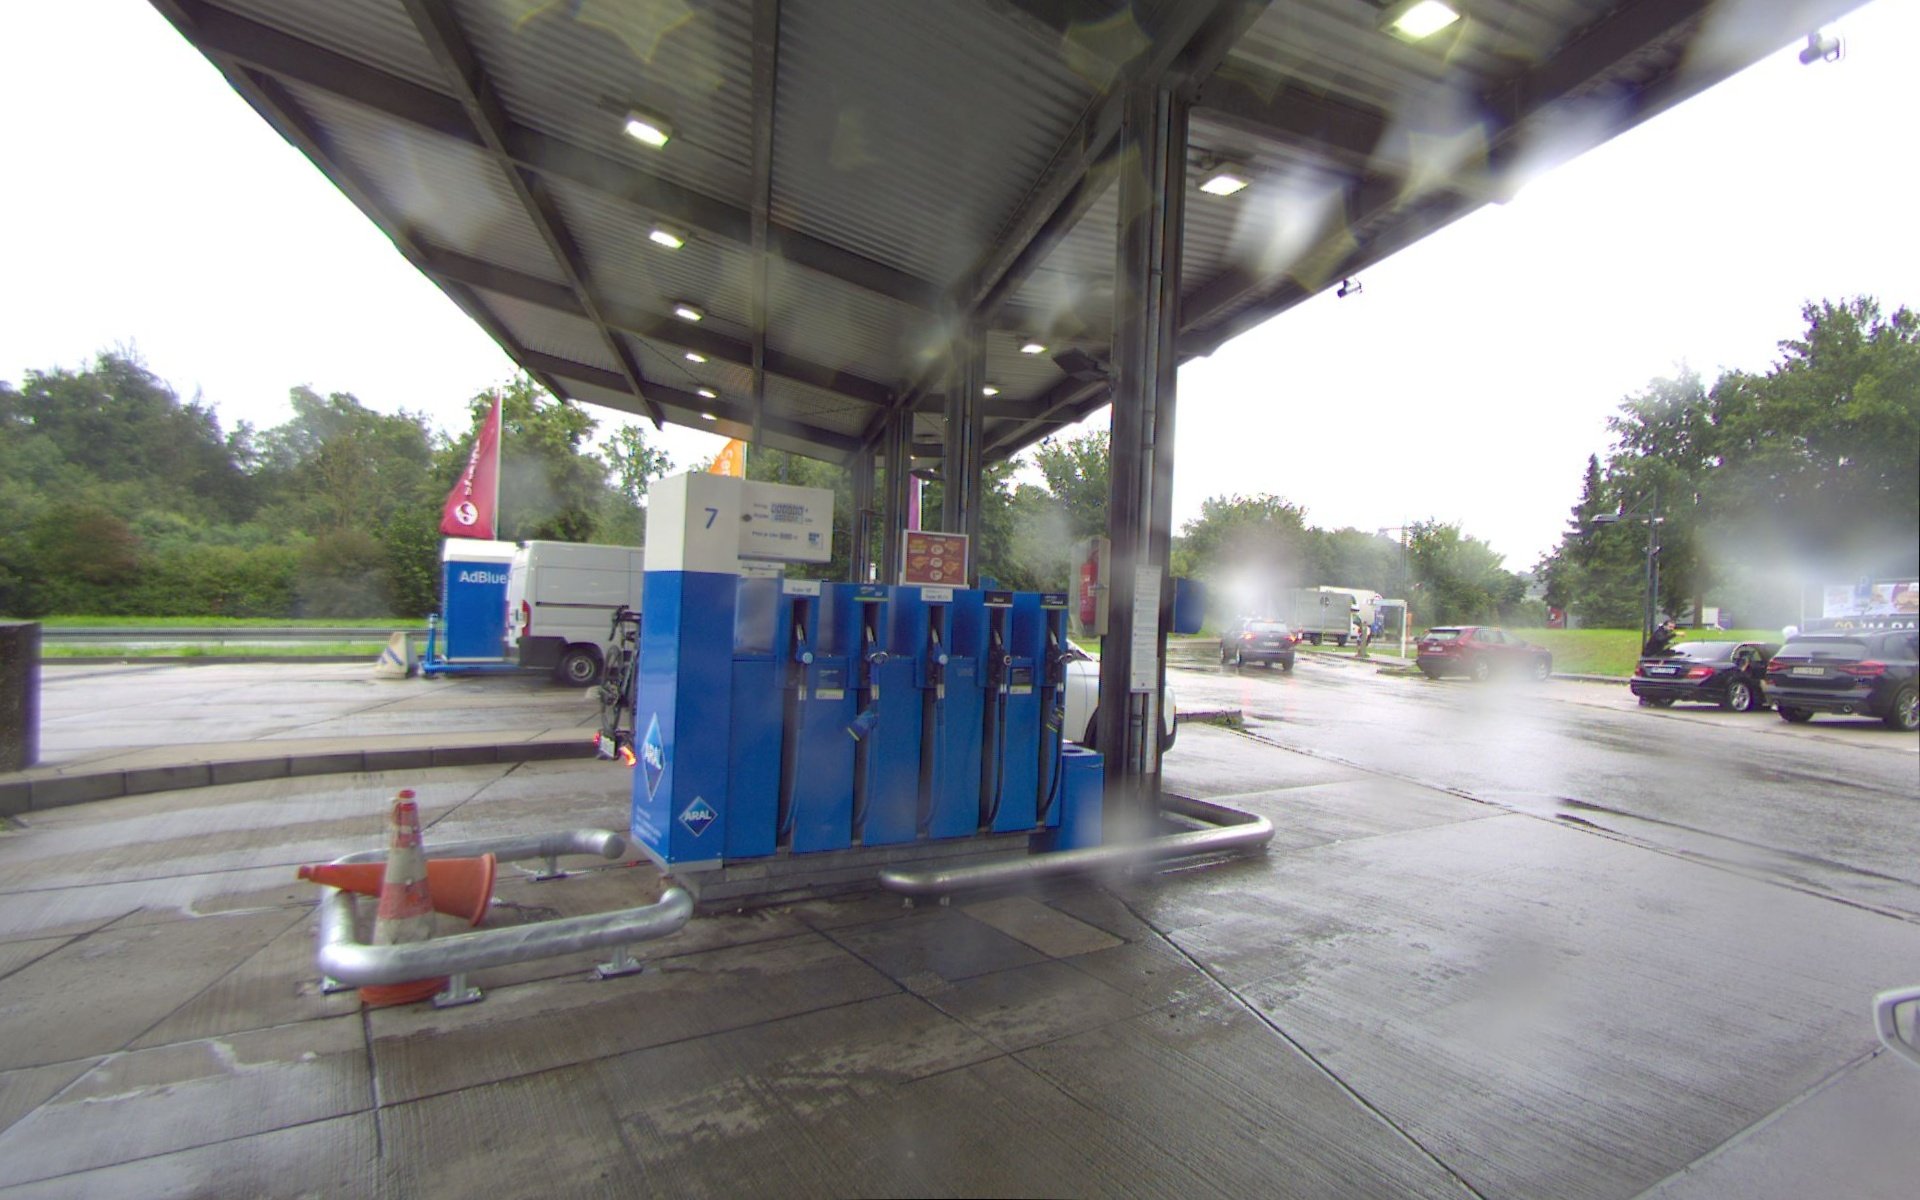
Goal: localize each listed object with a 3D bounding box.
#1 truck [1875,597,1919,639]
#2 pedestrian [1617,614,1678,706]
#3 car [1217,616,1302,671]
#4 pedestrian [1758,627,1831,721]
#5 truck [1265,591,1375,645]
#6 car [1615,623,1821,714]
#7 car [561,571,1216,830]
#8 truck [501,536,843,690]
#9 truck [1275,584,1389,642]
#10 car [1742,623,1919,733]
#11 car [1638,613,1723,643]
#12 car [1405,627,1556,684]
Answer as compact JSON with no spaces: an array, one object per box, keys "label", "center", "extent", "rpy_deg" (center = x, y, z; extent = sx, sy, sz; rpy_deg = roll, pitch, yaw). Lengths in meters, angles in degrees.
[{"label":"truck","center":[68.844,1.322,71.696],"extent":[5.285,2.959,2.191],"rpy_deg":[2,0,-5]},{"label":"pedestrian","center":[14.678,1.263,21.473],"extent":[0.690,1.912,0.894],"rpy_deg":[2,0,6]},{"label":"car","center":[10.096,1.443,34.155],"extent":[1.960,1.700,4.002],"rpy_deg":[2,-1,5]},{"label":"pedestrian","center":[15.425,1.344,18.587],"extent":[0.938,1.653,0.702],"rpy_deg":[2,0,34]},{"label":"truck","center":[22.403,1.159,62.312],"extent":[7.276,3.126,2.463],"rpy_deg":[2,0,-33]},{"label":"car","center":[15.935,1.354,21.084],"extent":[4.293,1.734,2.007],"rpy_deg":[1,-2,-31]},{"label":"car","center":[-0.432,0.698,8.451],"extent":[5.210,1.629,1.852],"rpy_deg":[2,0,-30]},{"label":"truck","center":[-5.345,0.290,18.932],"extent":[5.793,2.527,2.221],"rpy_deg":[2,0,-30]},{"label":"truck","center":[31.868,1.186,85.145],"extent":[3.498,4.397,16.922],"rpy_deg":[2,0,40]},{"label":"car","center":[16.165,1.268,17.461],"extent":[4.274,1.734,2.016],"rpy_deg":[1,-1,-18]},{"label":"car","center":[46.470,1.777,64.852],"extent":[4.056,1.806,1.844],"rpy_deg":[2,0,22]},{"label":"car","center":[16.069,1.668,30.995],"extent":[4.283,1.666,1.933],"rpy_deg":[1,-2,-25]}]
